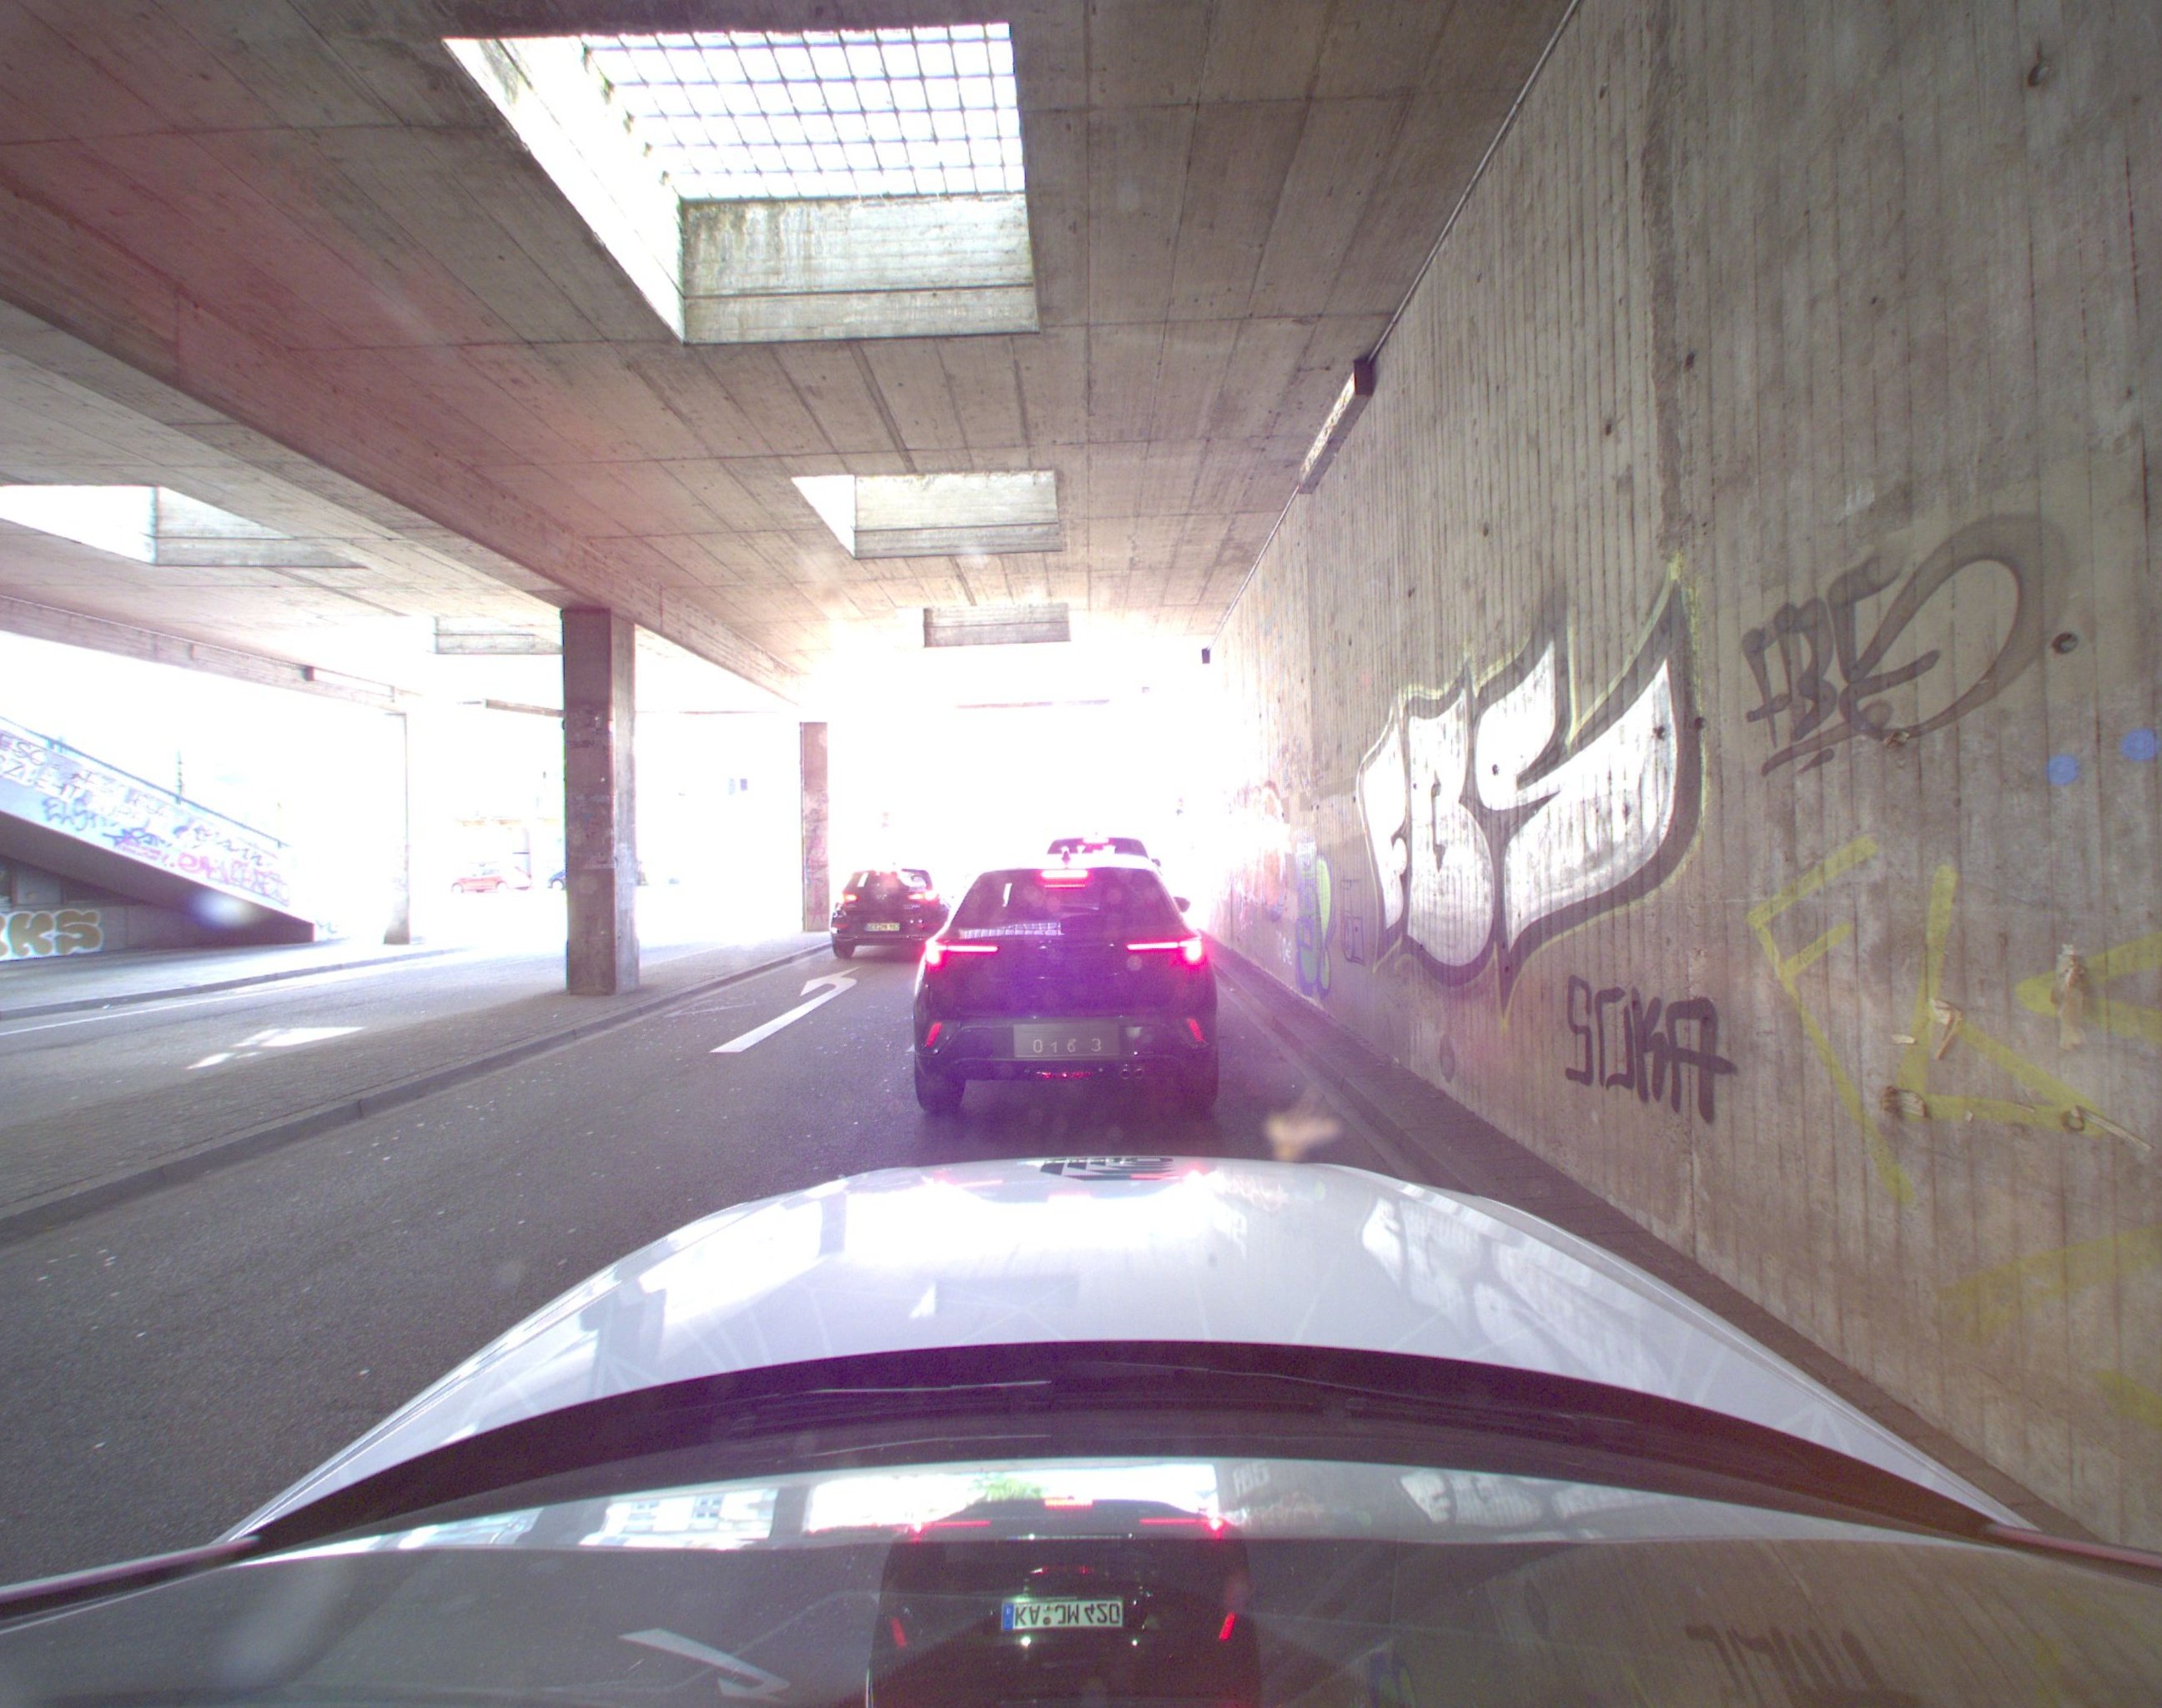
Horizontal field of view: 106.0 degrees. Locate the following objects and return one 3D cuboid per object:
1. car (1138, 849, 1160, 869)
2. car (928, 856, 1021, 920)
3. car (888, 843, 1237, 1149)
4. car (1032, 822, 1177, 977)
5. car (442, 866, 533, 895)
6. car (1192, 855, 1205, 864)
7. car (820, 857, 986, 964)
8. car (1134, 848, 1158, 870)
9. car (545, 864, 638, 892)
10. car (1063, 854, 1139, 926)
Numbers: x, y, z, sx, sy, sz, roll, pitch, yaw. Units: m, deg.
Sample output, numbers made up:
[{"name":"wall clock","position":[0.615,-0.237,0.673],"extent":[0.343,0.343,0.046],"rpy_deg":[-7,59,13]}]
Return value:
[{"name":"car","position":[5.753,0.429,68.330],"extent":[1.745,1.667,3.950],"rpy_deg":[0,-1,6]},{"name":"car","position":[-2.662,0.798,21.187],"extent":[1.755,1.480,3.846],"rpy_deg":[-1,0,2]},{"name":"car","position":[-0.031,0.729,6.200],"extent":[1.755,1.531,4.091],"rpy_deg":[-1,0,2]},{"name":"car","position":[0.354,0.569,12.139],"extent":[1.755,1.883,4.148],"rpy_deg":[-1,0,2]},{"name":"car","position":[-32.932,1.442,45.244],"extent":[3.748,1.475,1.749],"rpy_deg":[-1,-1,0]},{"name":"car","position":[21.975,1.105,152.209],"extent":[1.805,1.667,4.833],"rpy_deg":[-1,-1,13]},{"name":"car","position":[-2.752,0.802,13.459],"extent":[1.755,1.480,3.846],"rpy_deg":[-1,0,2]},{"name":"car","position":[4.966,0.385,62.226],"extent":[1.745,1.667,3.950],"rpy_deg":[0,-1,6]},{"name":"car","position":[-27.175,1.320,45.266],"extent":[4.096,1.475,1.737],"rpy_deg":[-1,-1,0]},{"name":"car","position":[0.490,0.764,19.357],"extent":[1.603,1.513,4.055],"rpy_deg":[-1,0,2]}]
